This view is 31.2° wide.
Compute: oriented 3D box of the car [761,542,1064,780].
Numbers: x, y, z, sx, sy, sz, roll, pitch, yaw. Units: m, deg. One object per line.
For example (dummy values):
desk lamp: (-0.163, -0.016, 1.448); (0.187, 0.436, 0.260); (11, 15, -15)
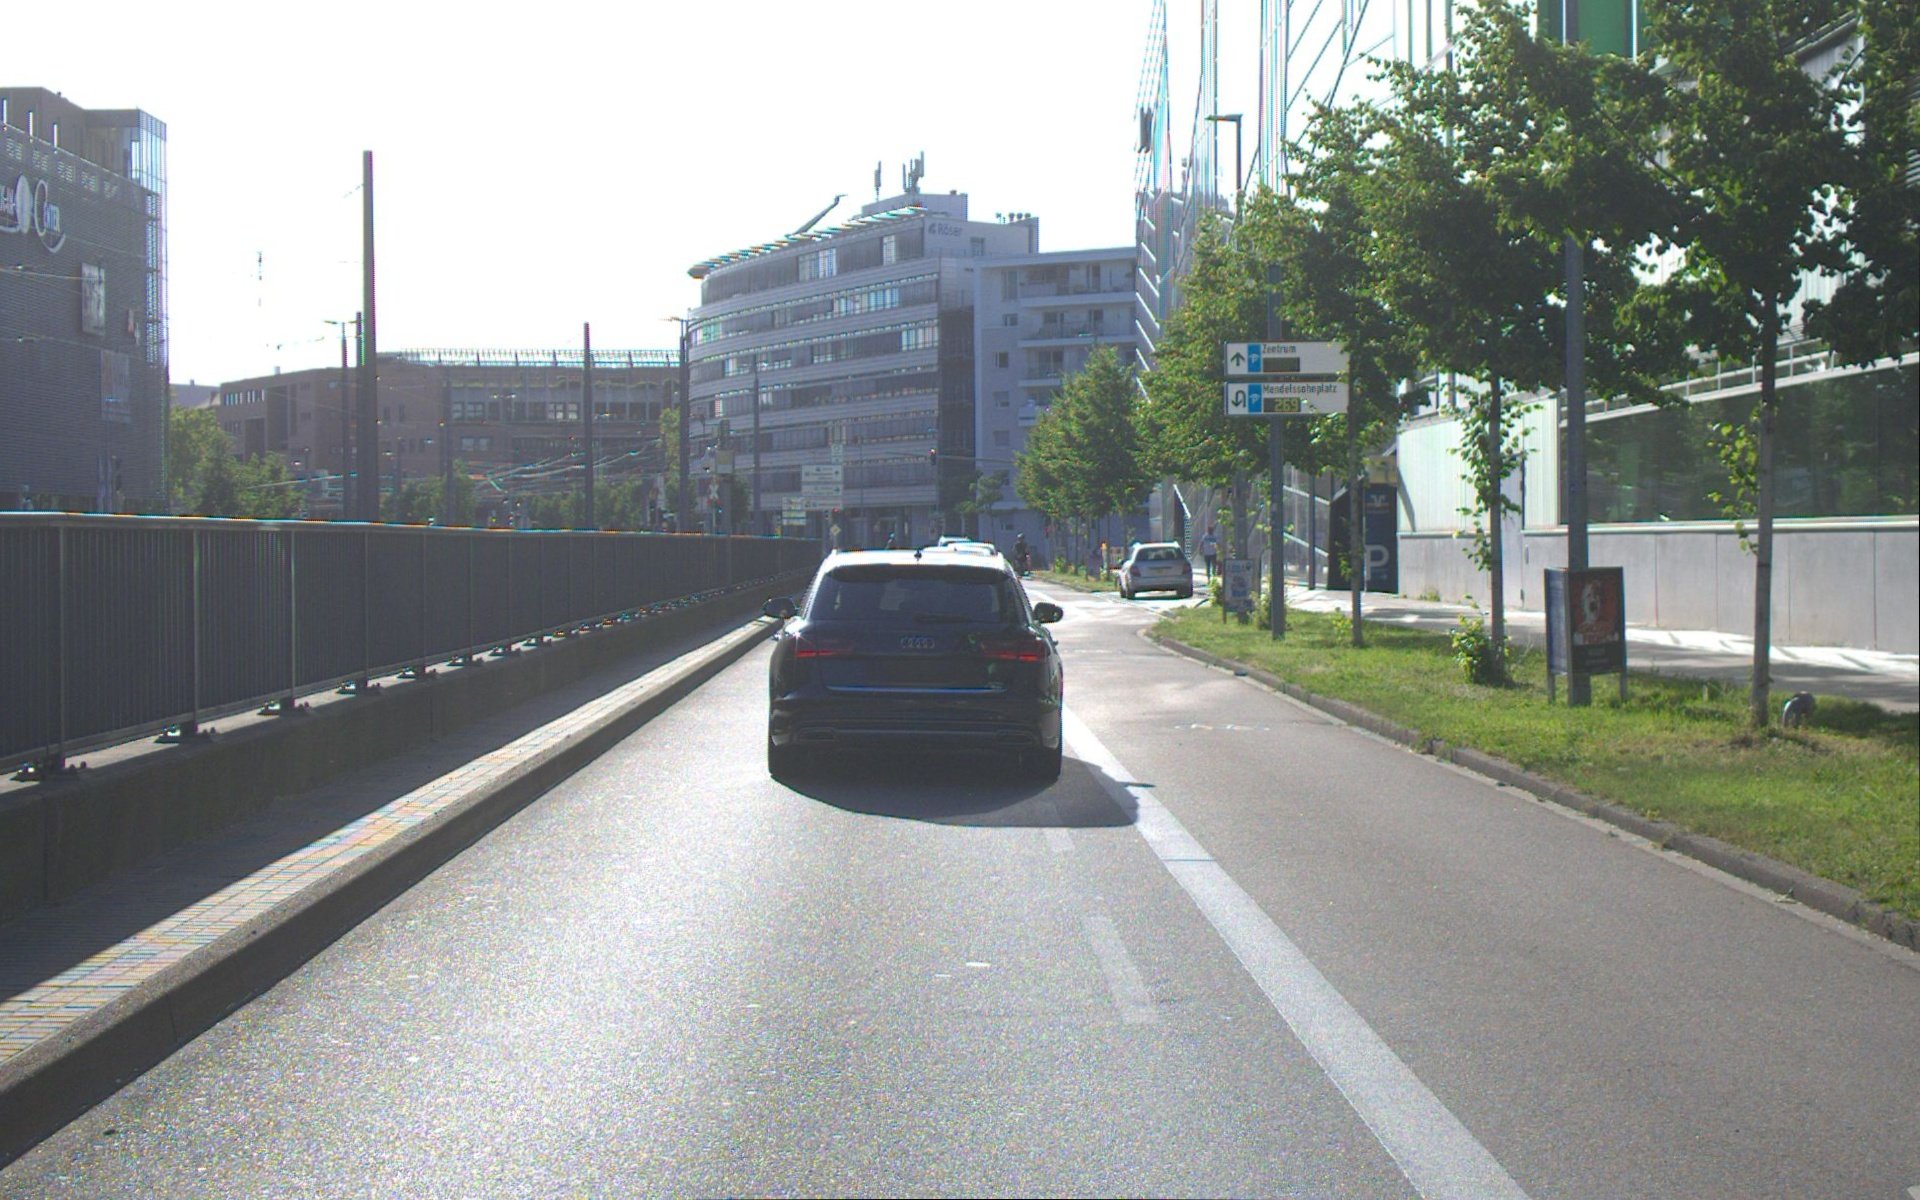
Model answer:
car: (-0.351, 0.327, 23.034); (1.812, 1.422, 4.690); (0, 1, -2)

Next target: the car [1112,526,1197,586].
car: (5.185, -1.196, 92.219); (1.852, 1.476, 4.854); (-2, 2, -1)

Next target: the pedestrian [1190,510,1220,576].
pedestrian: (7.541, -1.753, 105.786); (0.836, 2.007, 0.689); (-1, 1, 0)

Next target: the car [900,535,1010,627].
car: (-0.124, -0.373, 62.148); (1.852, 1.541, 4.001); (1, 2, -2)
